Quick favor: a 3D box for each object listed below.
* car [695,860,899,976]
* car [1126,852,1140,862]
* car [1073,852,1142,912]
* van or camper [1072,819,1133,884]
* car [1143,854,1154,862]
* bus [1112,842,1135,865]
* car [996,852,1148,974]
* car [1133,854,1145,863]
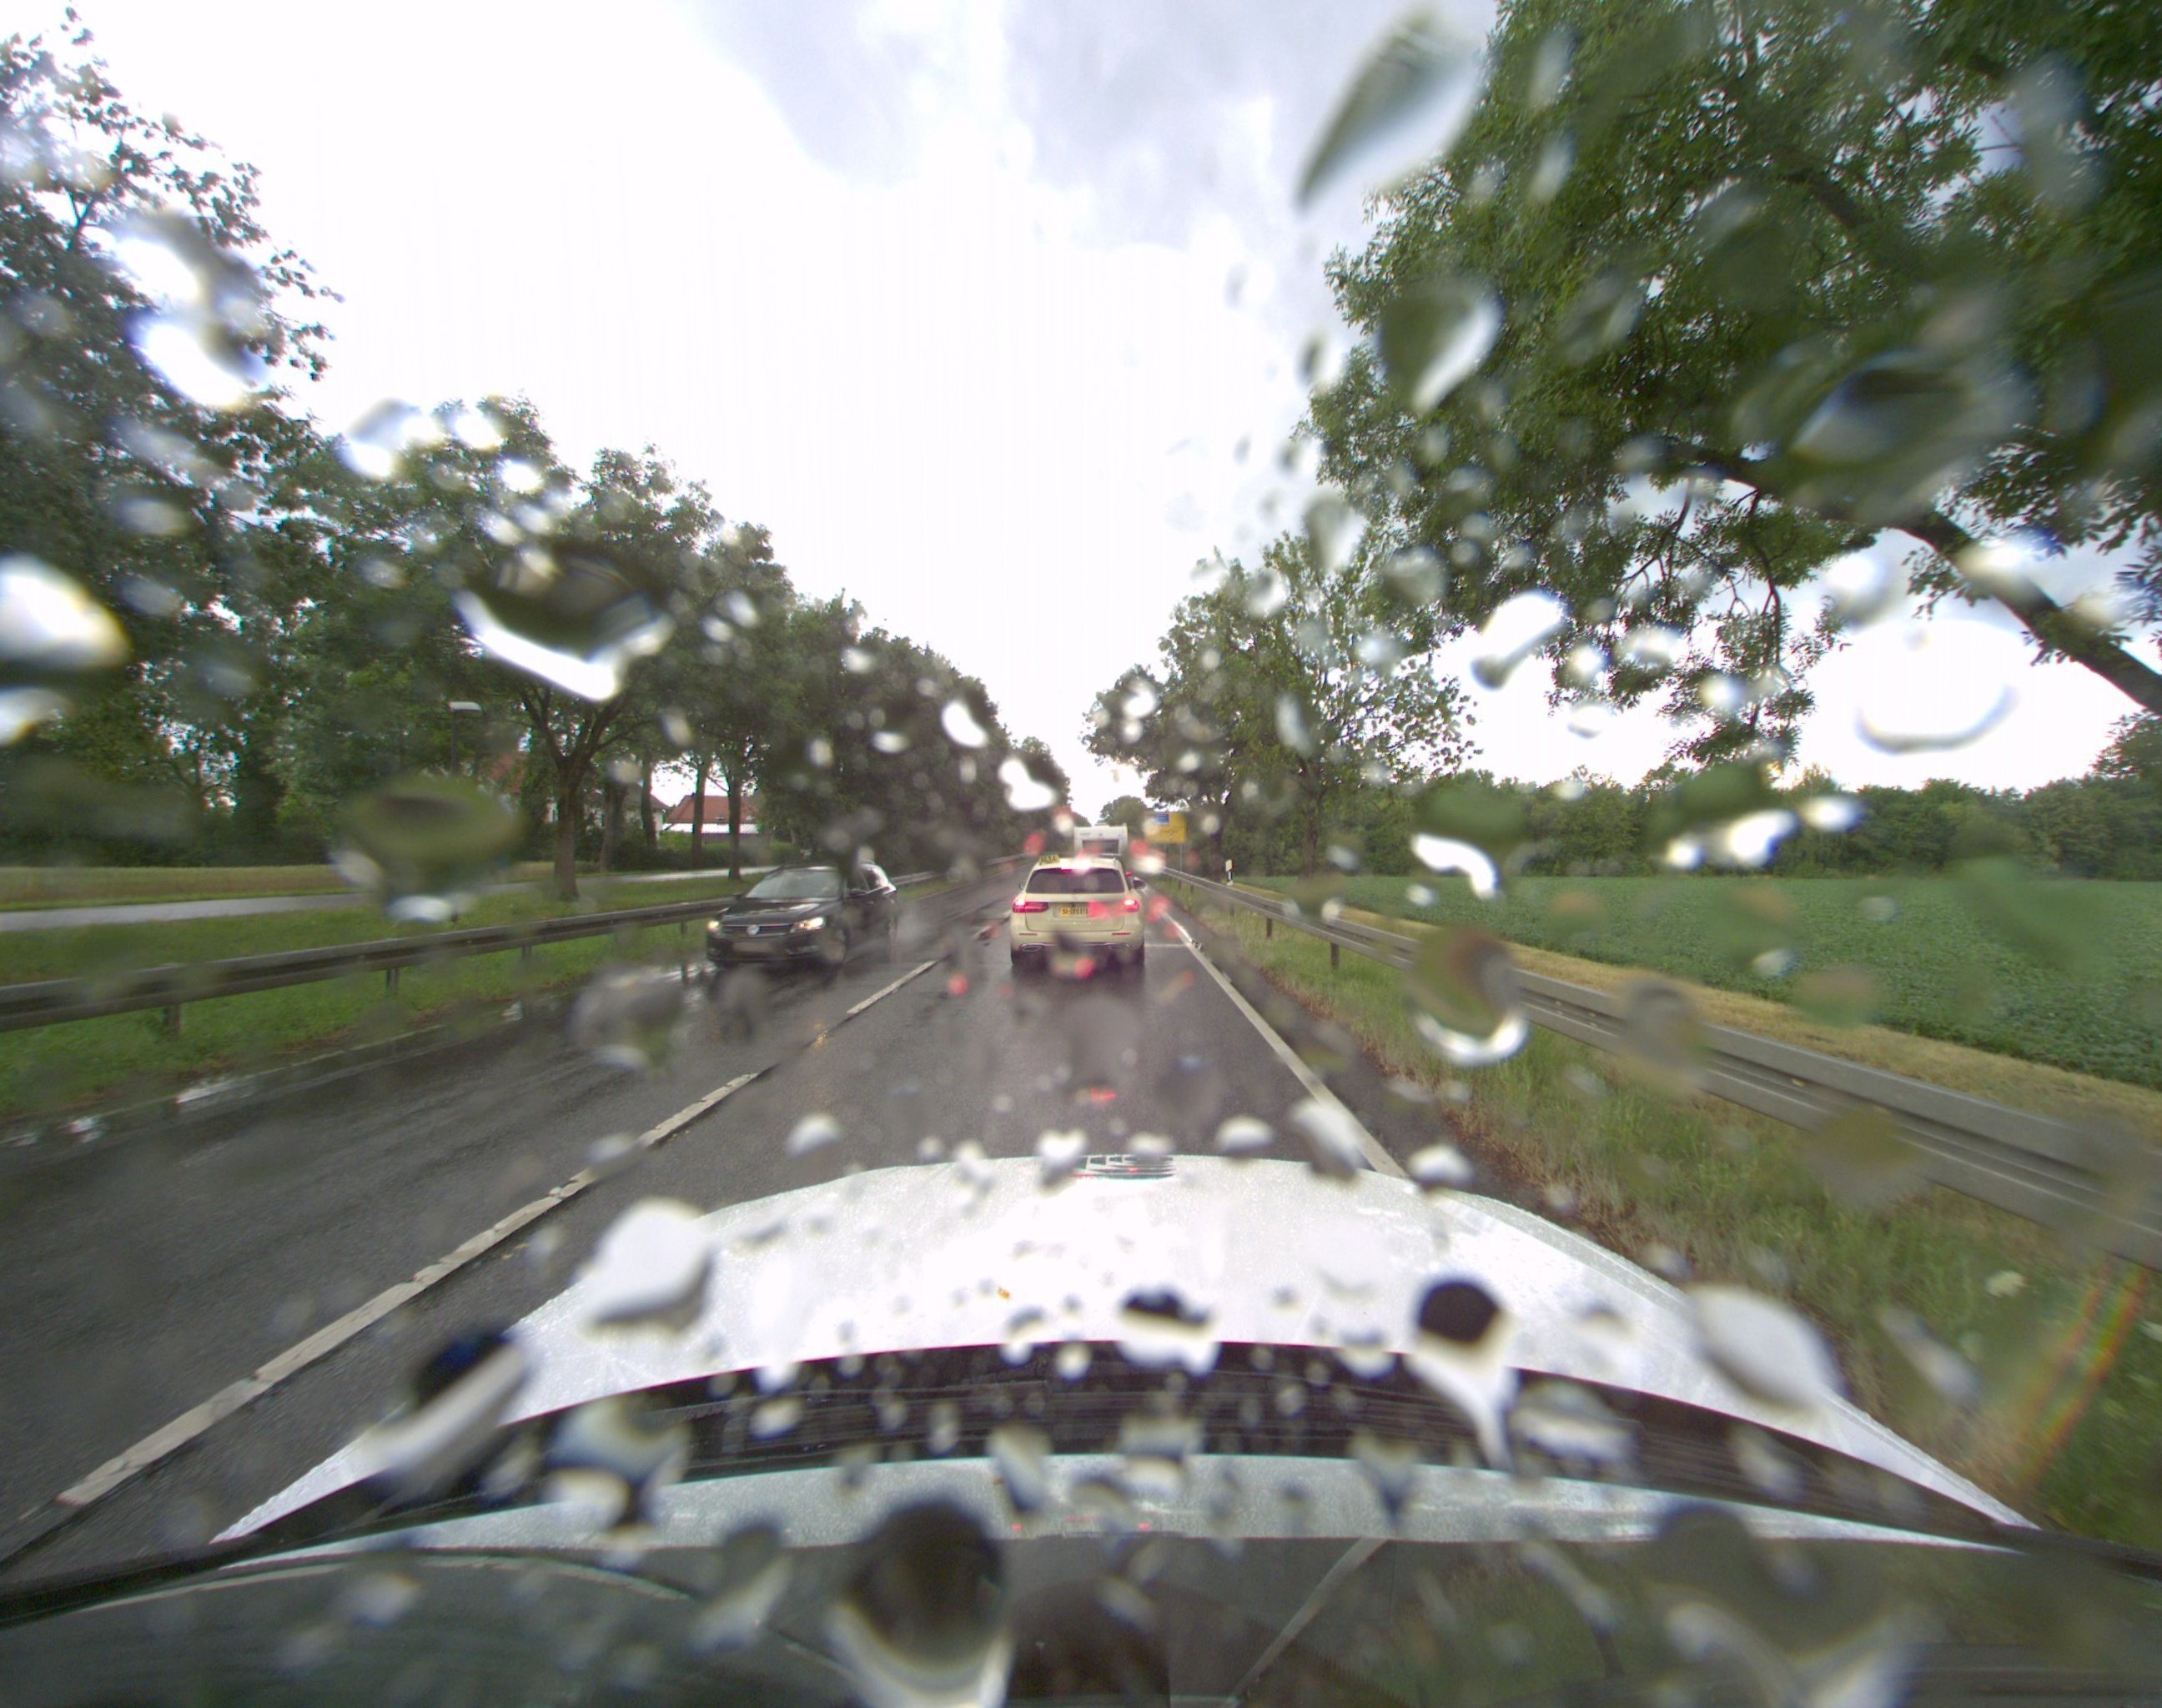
[{"bbox_3d":[-4.113,0.837,12.517,1.622,1.438,3.962,-1,0,2],"label":"car"},{"bbox_3d":[6.317,0.382,99.879,1.546,1.118,4.001,-1,0,2],"label":"car"},{"bbox_3d":[0.761,0.682,21.798,1.657,1.430,4.003,-1,0,3],"label":"car"},{"bbox_3d":[1.060,-0.112,36.867,2.479,2.685,5.705,-1,0,3],"label":"van or camper"},{"bbox_3d":[9.693,0.533,117.057,1.545,1.118,4.004,-1,0,4],"label":"car"},{"bbox_3d":[3.979,-0.089,76.079,1.986,2.013,4.002,-2,0,2],"label":"bus"},{"bbox_3d":[0.001,0.733,12.161,1.857,1.476,4.003,-1,0,3],"label":"car"},{"bbox_3d":[7.747,0.627,108.943,1.545,1.118,4.003,-1,0,3],"label":"car"}]
